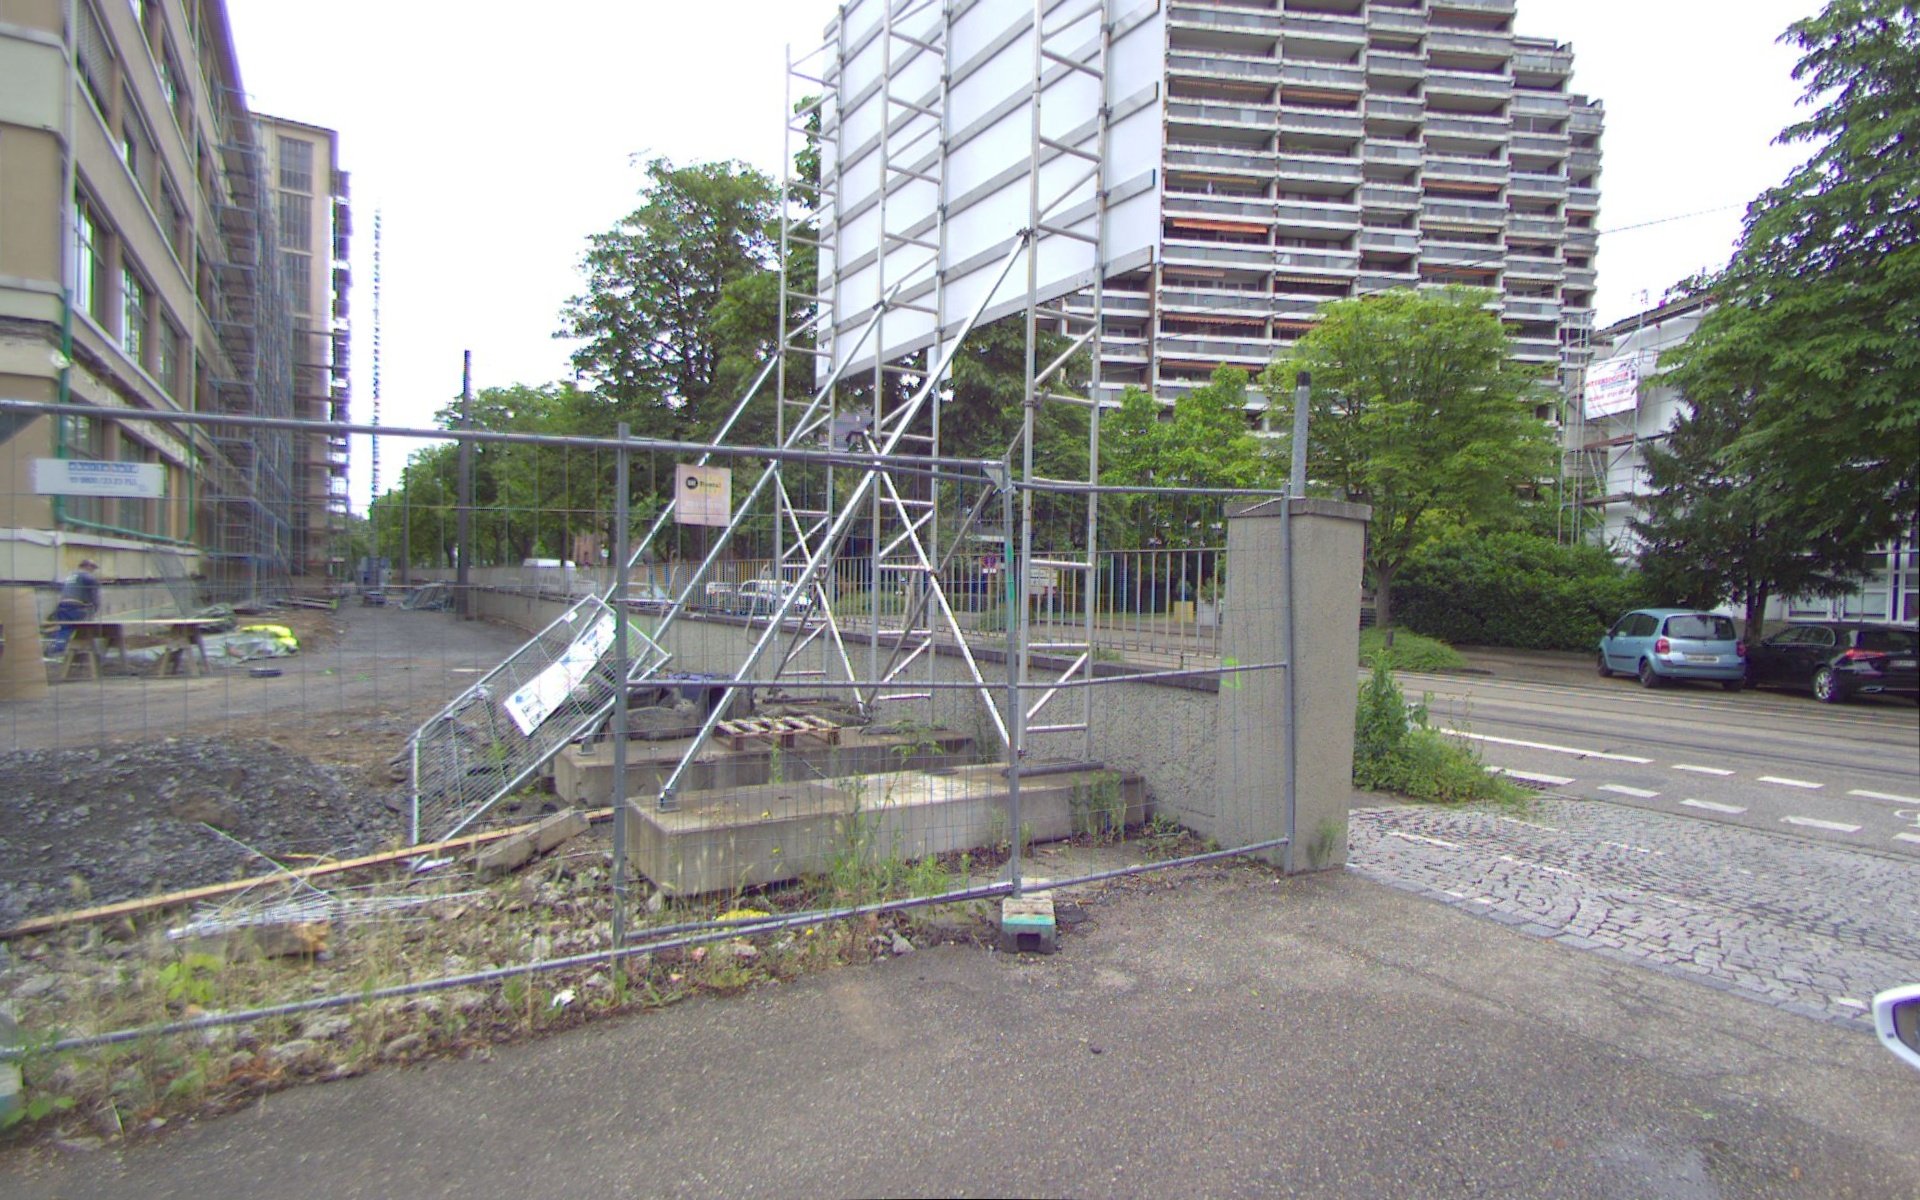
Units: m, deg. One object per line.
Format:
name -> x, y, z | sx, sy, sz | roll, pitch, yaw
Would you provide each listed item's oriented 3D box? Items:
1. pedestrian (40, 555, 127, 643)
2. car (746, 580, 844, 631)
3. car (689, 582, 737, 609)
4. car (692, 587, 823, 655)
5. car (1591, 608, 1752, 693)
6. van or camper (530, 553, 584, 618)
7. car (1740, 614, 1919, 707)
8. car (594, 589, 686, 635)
pedestrian -> -15.200, -0.014, 17.422 | 0.916, 1.457, 0.979 | 2, 0, 38
car -> -6.141, 0.158, 37.021 | 1.978, 1.726, 4.560 | 0, 1, -32
car -> -14.961, -0.303, 60.764 | 1.711, 1.539, 3.966 | 1, 1, -31
car -> -4.971, 0.465, 24.232 | 1.813, 1.437, 3.965 | 1, 0, -32
car -> 14.839, 0.994, 21.157 | 1.586, 1.557, 3.338 | 2, 0, 14
van or camper -> -18.439, -0.665, 45.897 | 1.974, 2.789, 3.973 | 1, 1, -26
car -> 16.296, 1.053, 18.658 | 1.586, 1.531, 3.339 | 2, 0, 14
car -> -10.579, 0.366, 33.043 | 1.978, 1.328, 3.965 | 1, 1, -32
